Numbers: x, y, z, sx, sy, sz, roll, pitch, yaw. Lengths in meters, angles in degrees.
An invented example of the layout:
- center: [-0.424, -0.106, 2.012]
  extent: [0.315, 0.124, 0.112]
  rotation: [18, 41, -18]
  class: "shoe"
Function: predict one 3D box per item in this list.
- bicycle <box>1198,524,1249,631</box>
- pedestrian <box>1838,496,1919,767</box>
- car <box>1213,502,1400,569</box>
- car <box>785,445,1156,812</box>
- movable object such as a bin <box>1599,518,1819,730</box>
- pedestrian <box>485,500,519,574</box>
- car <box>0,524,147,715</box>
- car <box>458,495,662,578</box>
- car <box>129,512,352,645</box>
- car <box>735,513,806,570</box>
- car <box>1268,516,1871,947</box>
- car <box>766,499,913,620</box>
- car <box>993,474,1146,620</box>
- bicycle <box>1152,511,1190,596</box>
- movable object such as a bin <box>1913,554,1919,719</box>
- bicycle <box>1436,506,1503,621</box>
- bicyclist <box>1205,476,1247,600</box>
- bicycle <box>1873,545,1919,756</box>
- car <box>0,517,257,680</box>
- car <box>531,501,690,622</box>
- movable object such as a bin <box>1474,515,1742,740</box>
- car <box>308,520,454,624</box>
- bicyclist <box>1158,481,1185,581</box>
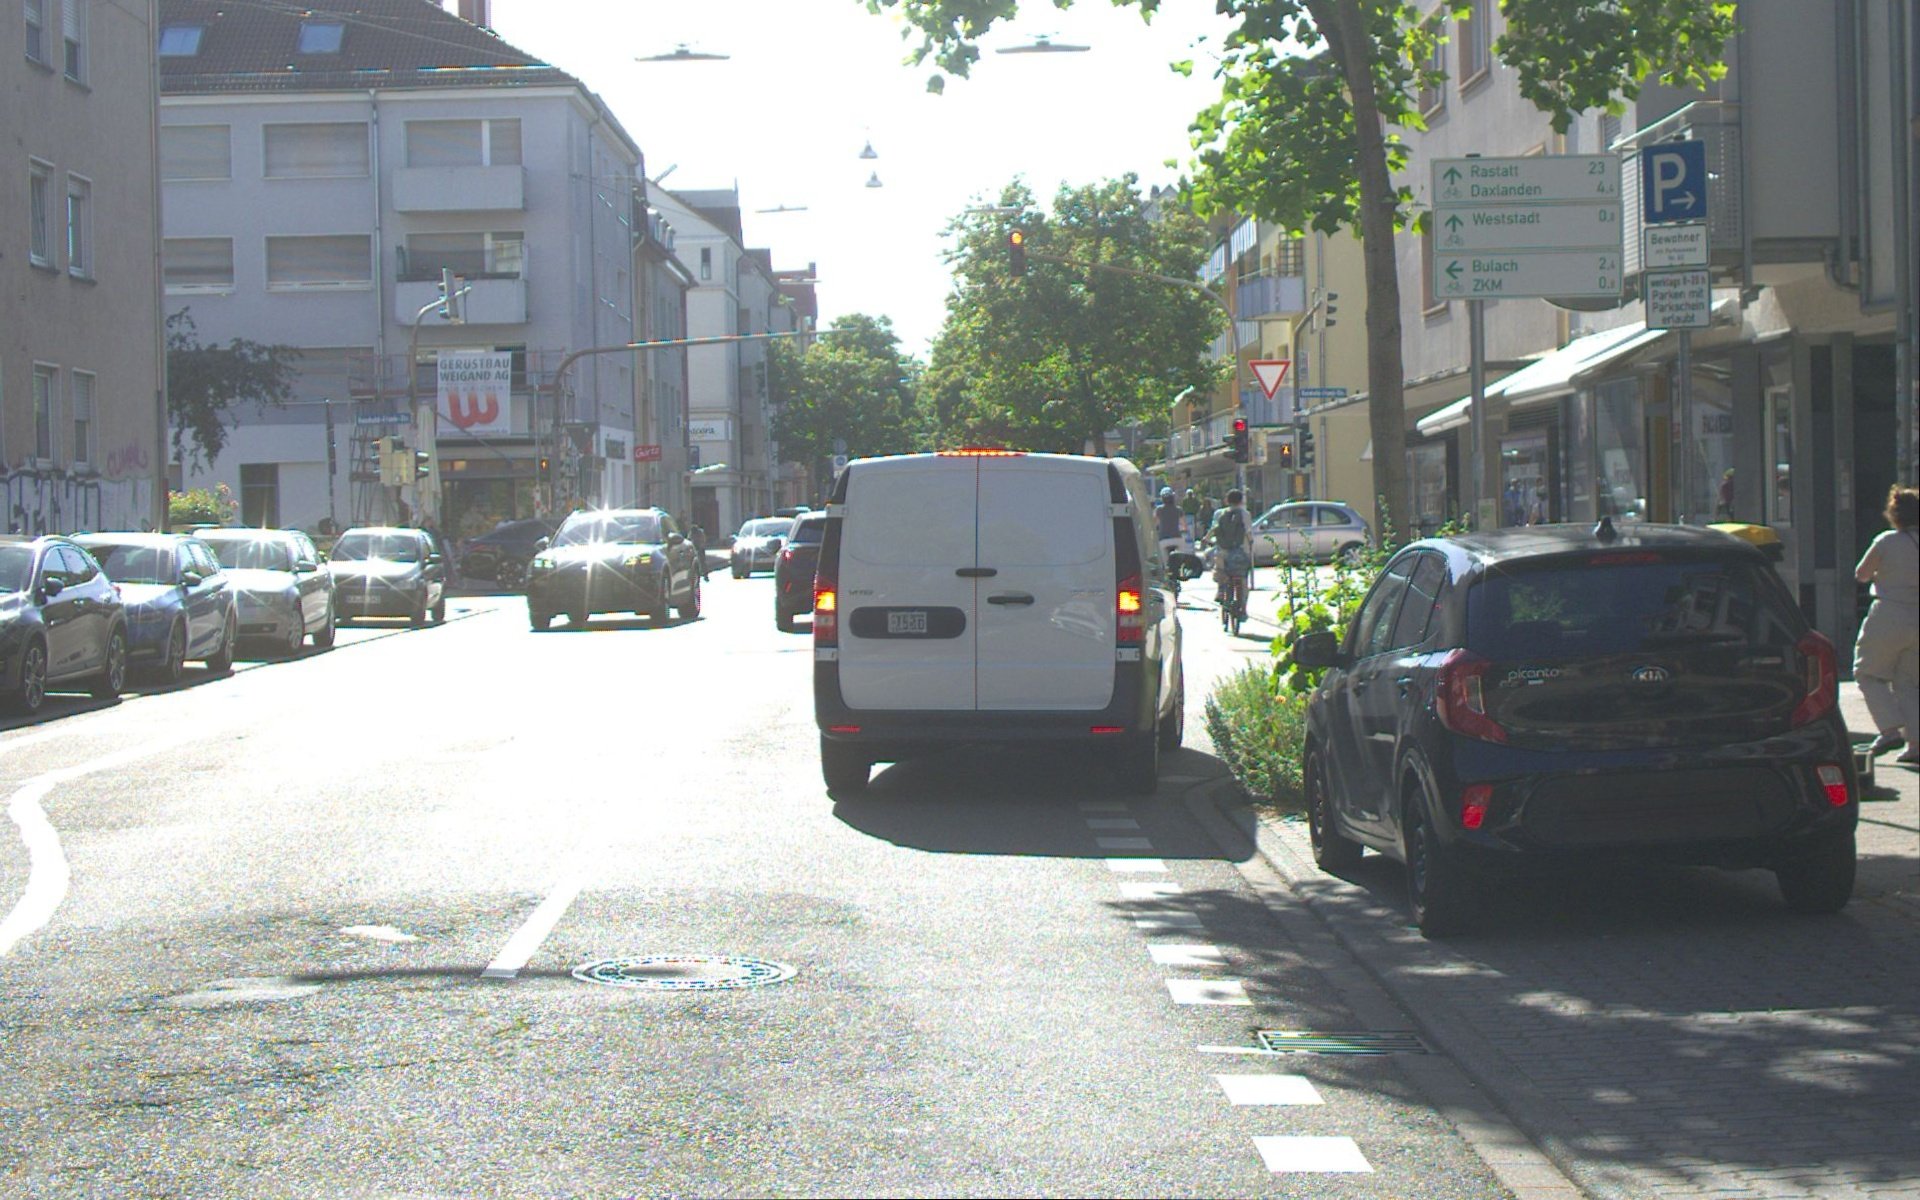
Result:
- center: [3.215, -0.287, 41.967]
  extent: [0.475, 1.270, 1.218]
  rotation: [-1, 1, -1]
  class: "bicycle"
- center: [5.089, 0.168, 18.933]
  extent: [0.367, 1.464, 0.389]
  rotation: [-2, 1, -2]
  class: "pedestrian"
- center: [7.215, -1.361, 71.861]
  extent: [3.712, 1.299, 1.691]
  rotation: [-1, 1, 0]
  class: "car"
- center: [0.026, 0.072, 20.368]
  extent: [1.920, 1.907, 4.888]
  rotation: [0, 2, -1]
  class: "car"
- center: [4.960, 0.140, 22.741]
  extent: [1.040, 1.343, 1.106]
  rotation: [1, 2, 38]
  class: "movable object such as a bin"
- center: [-10.374, -1.439, 77.829]
  extent: [0.683, 1.658, 0.601]
  rotation: [-1, 1, -2]
  class: "pedestrian"
- center: [-8.716, 0.101, 30.287]
  extent: [1.993, 1.491, 4.228]
  rotation: [2, 2, 1]
  class: "car"
- center: [-8.089, -1.302, 69.811]
  extent: [3.986, 1.634, 2.000]
  rotation: [-1, 1, -4]
  class: "car"
- center: [-8.646, -0.306, 41.703]
  extent: [1.776, 1.464, 4.760]
  rotation: [2, 1, -1]
  class: "car"
- center: [-4.712, -1.472, 85.802]
  extent: [1.618, 1.393, 3.731]
  rotation: [0, 1, -1]
  class: "car"
- center: [2.307, 0.417, 13.879]
  extent: [1.635, 1.470, 3.581]
  rotation: [-1, 1, -2]
  class: "car"
- center: [-1.602, -0.573, 45.781]
  extent: [1.844, 1.502, 4.001]
  rotation: [-1, 2, -2]
  class: "car"
- center: [1.473, -0.768, 47.862]
  extent: [1.815, 1.914, 4.645]
  rotation: [-1, 2, -2]
  class: "car"
- center: [3.307, -0.742, 53.861]
  extent: [0.416, 1.305, 1.335]
  rotation: [-1, 1, -3]
  class: "bicycle"
- center: [6.373, 0.231, 21.616]
  extent: [0.598, 1.038, 0.546]
  rotation: [-1, 1, -1]
  class: "movable object such as a bin"
- center: [5.839, -0.432, 39.467]
  extent: [0.475, 1.270, 1.218]
  rotation: [-4, 2, -1]
  class: "bicycle"
- center: [3.268, -0.765, 42.203]
  extent: [0.439, 1.503, 0.497]
  rotation: [-1, 1, -1]
  class: "bicyclist"
- center: [5.520, 0.283, 18.613]
  extent: [0.536, 1.145, 2.124]
  rotation: [-1, 2, -1]
  class: "bicycle"
- center: [-8.562, -0.070, 35.370]
  extent: [1.721, 1.491, 4.627]
  rotation: [2, 2, -1]
  class: "car"
- center: [-4.928, -0.588, 48.979]
  extent: [1.867, 1.608, 4.428]
  rotation: [-1, 2, -1]
  class: "car"
- center: [4.097, 0.155, 21.722]
  extent: [1.268, 1.343, 1.108]
  rotation: [-3, 2, -42]
  class: "movable object such as a bin"
- center: [-8.732, -0.448, 52.086]
  extent: [1.653, 1.474, 4.001]
  rotation: [1, 2, -2]
  class: "car"
- center: [3.315, -1.083, 53.964]
  extent: [0.355, 1.570, 0.482]
  rotation: [0, 1, -4]
  class: "bicyclist"
